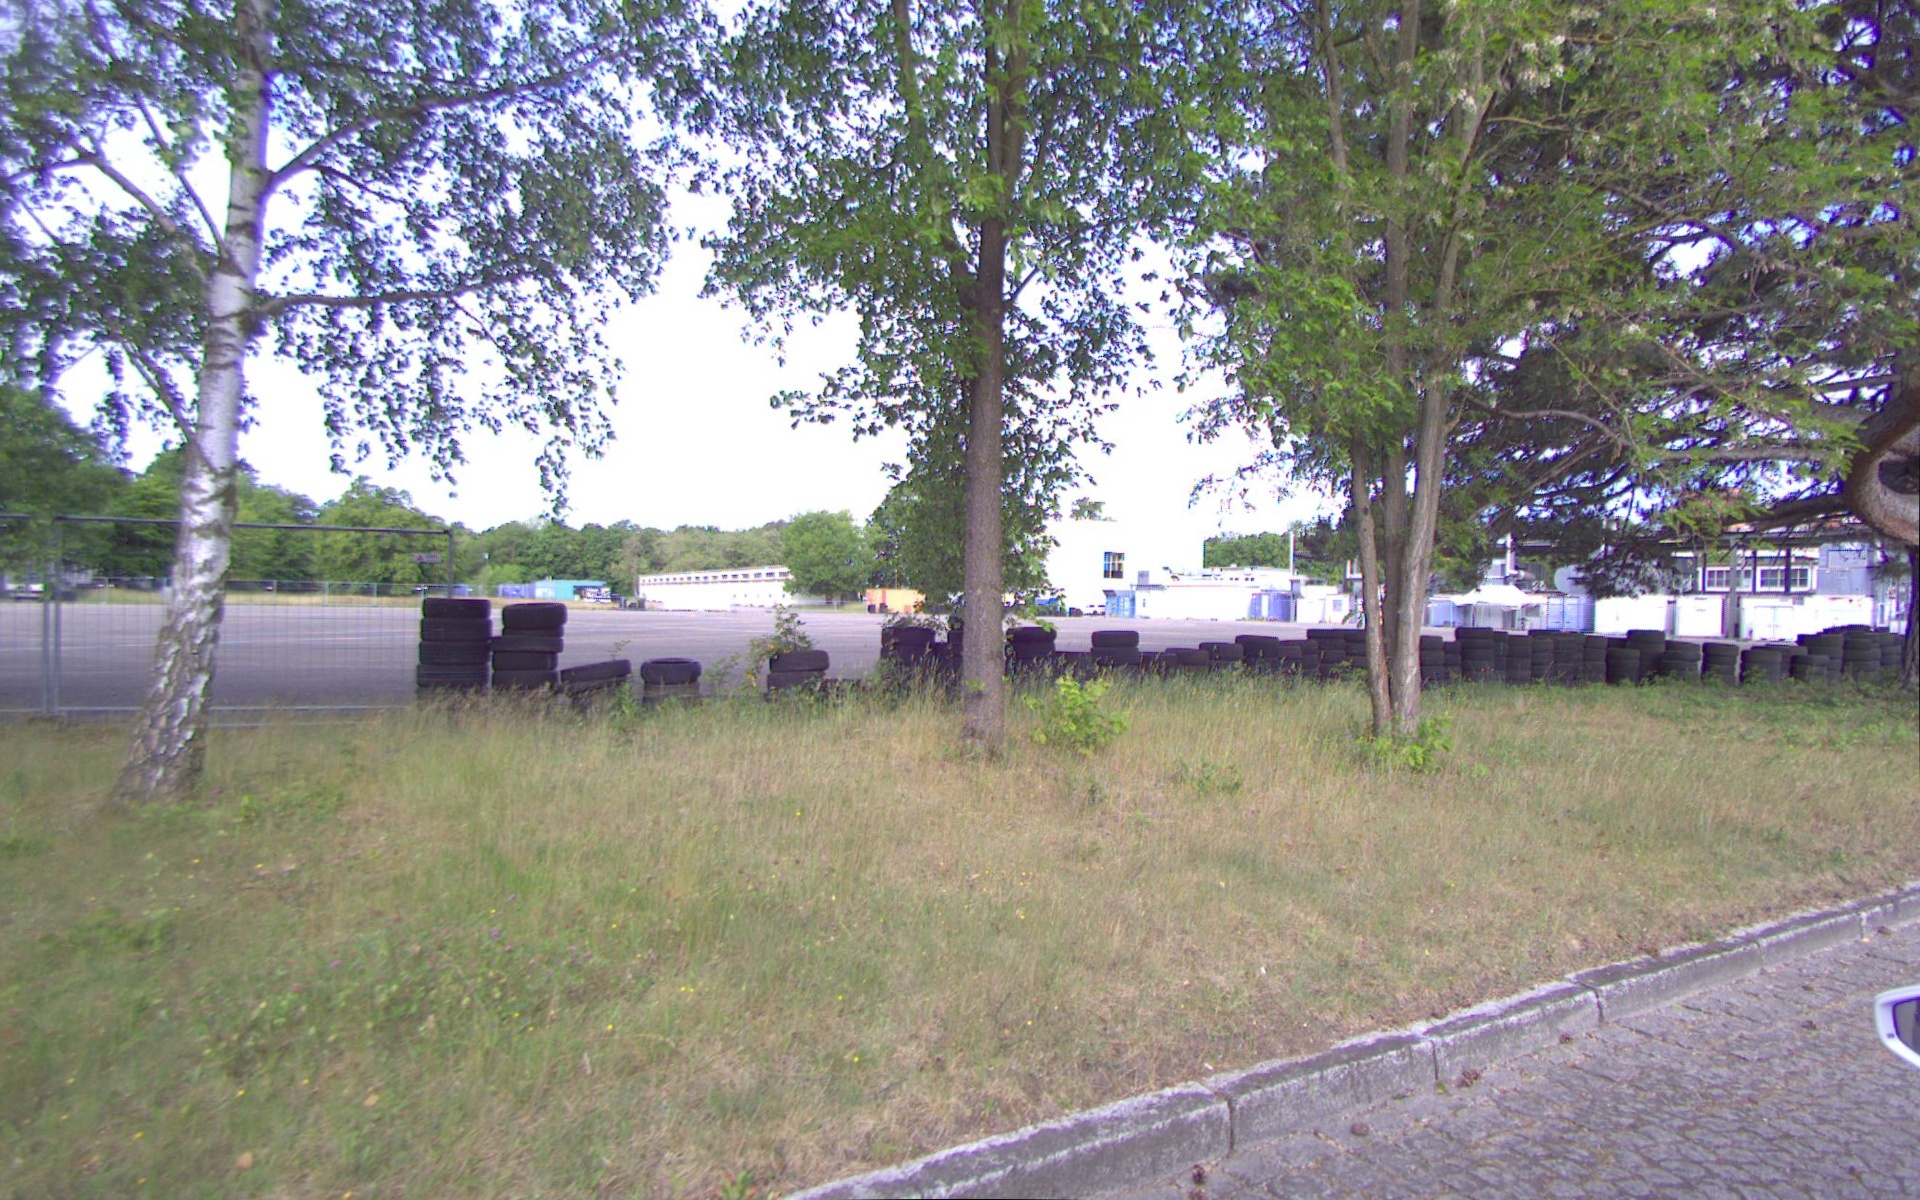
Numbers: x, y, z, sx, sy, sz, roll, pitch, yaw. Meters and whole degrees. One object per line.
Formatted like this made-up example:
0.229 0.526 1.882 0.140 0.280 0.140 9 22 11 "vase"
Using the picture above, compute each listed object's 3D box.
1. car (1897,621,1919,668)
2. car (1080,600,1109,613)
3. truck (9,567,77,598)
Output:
32.163 1.476 32.281 3.439 1.472 1.762 1 0 -24 "car"
16.982 0.856 126.912 1.611 1.553 3.946 1 0 -31 "car"
-70.215 -1.335 77.052 2.346 2.227 6.504 1 0 -29 "truck"
